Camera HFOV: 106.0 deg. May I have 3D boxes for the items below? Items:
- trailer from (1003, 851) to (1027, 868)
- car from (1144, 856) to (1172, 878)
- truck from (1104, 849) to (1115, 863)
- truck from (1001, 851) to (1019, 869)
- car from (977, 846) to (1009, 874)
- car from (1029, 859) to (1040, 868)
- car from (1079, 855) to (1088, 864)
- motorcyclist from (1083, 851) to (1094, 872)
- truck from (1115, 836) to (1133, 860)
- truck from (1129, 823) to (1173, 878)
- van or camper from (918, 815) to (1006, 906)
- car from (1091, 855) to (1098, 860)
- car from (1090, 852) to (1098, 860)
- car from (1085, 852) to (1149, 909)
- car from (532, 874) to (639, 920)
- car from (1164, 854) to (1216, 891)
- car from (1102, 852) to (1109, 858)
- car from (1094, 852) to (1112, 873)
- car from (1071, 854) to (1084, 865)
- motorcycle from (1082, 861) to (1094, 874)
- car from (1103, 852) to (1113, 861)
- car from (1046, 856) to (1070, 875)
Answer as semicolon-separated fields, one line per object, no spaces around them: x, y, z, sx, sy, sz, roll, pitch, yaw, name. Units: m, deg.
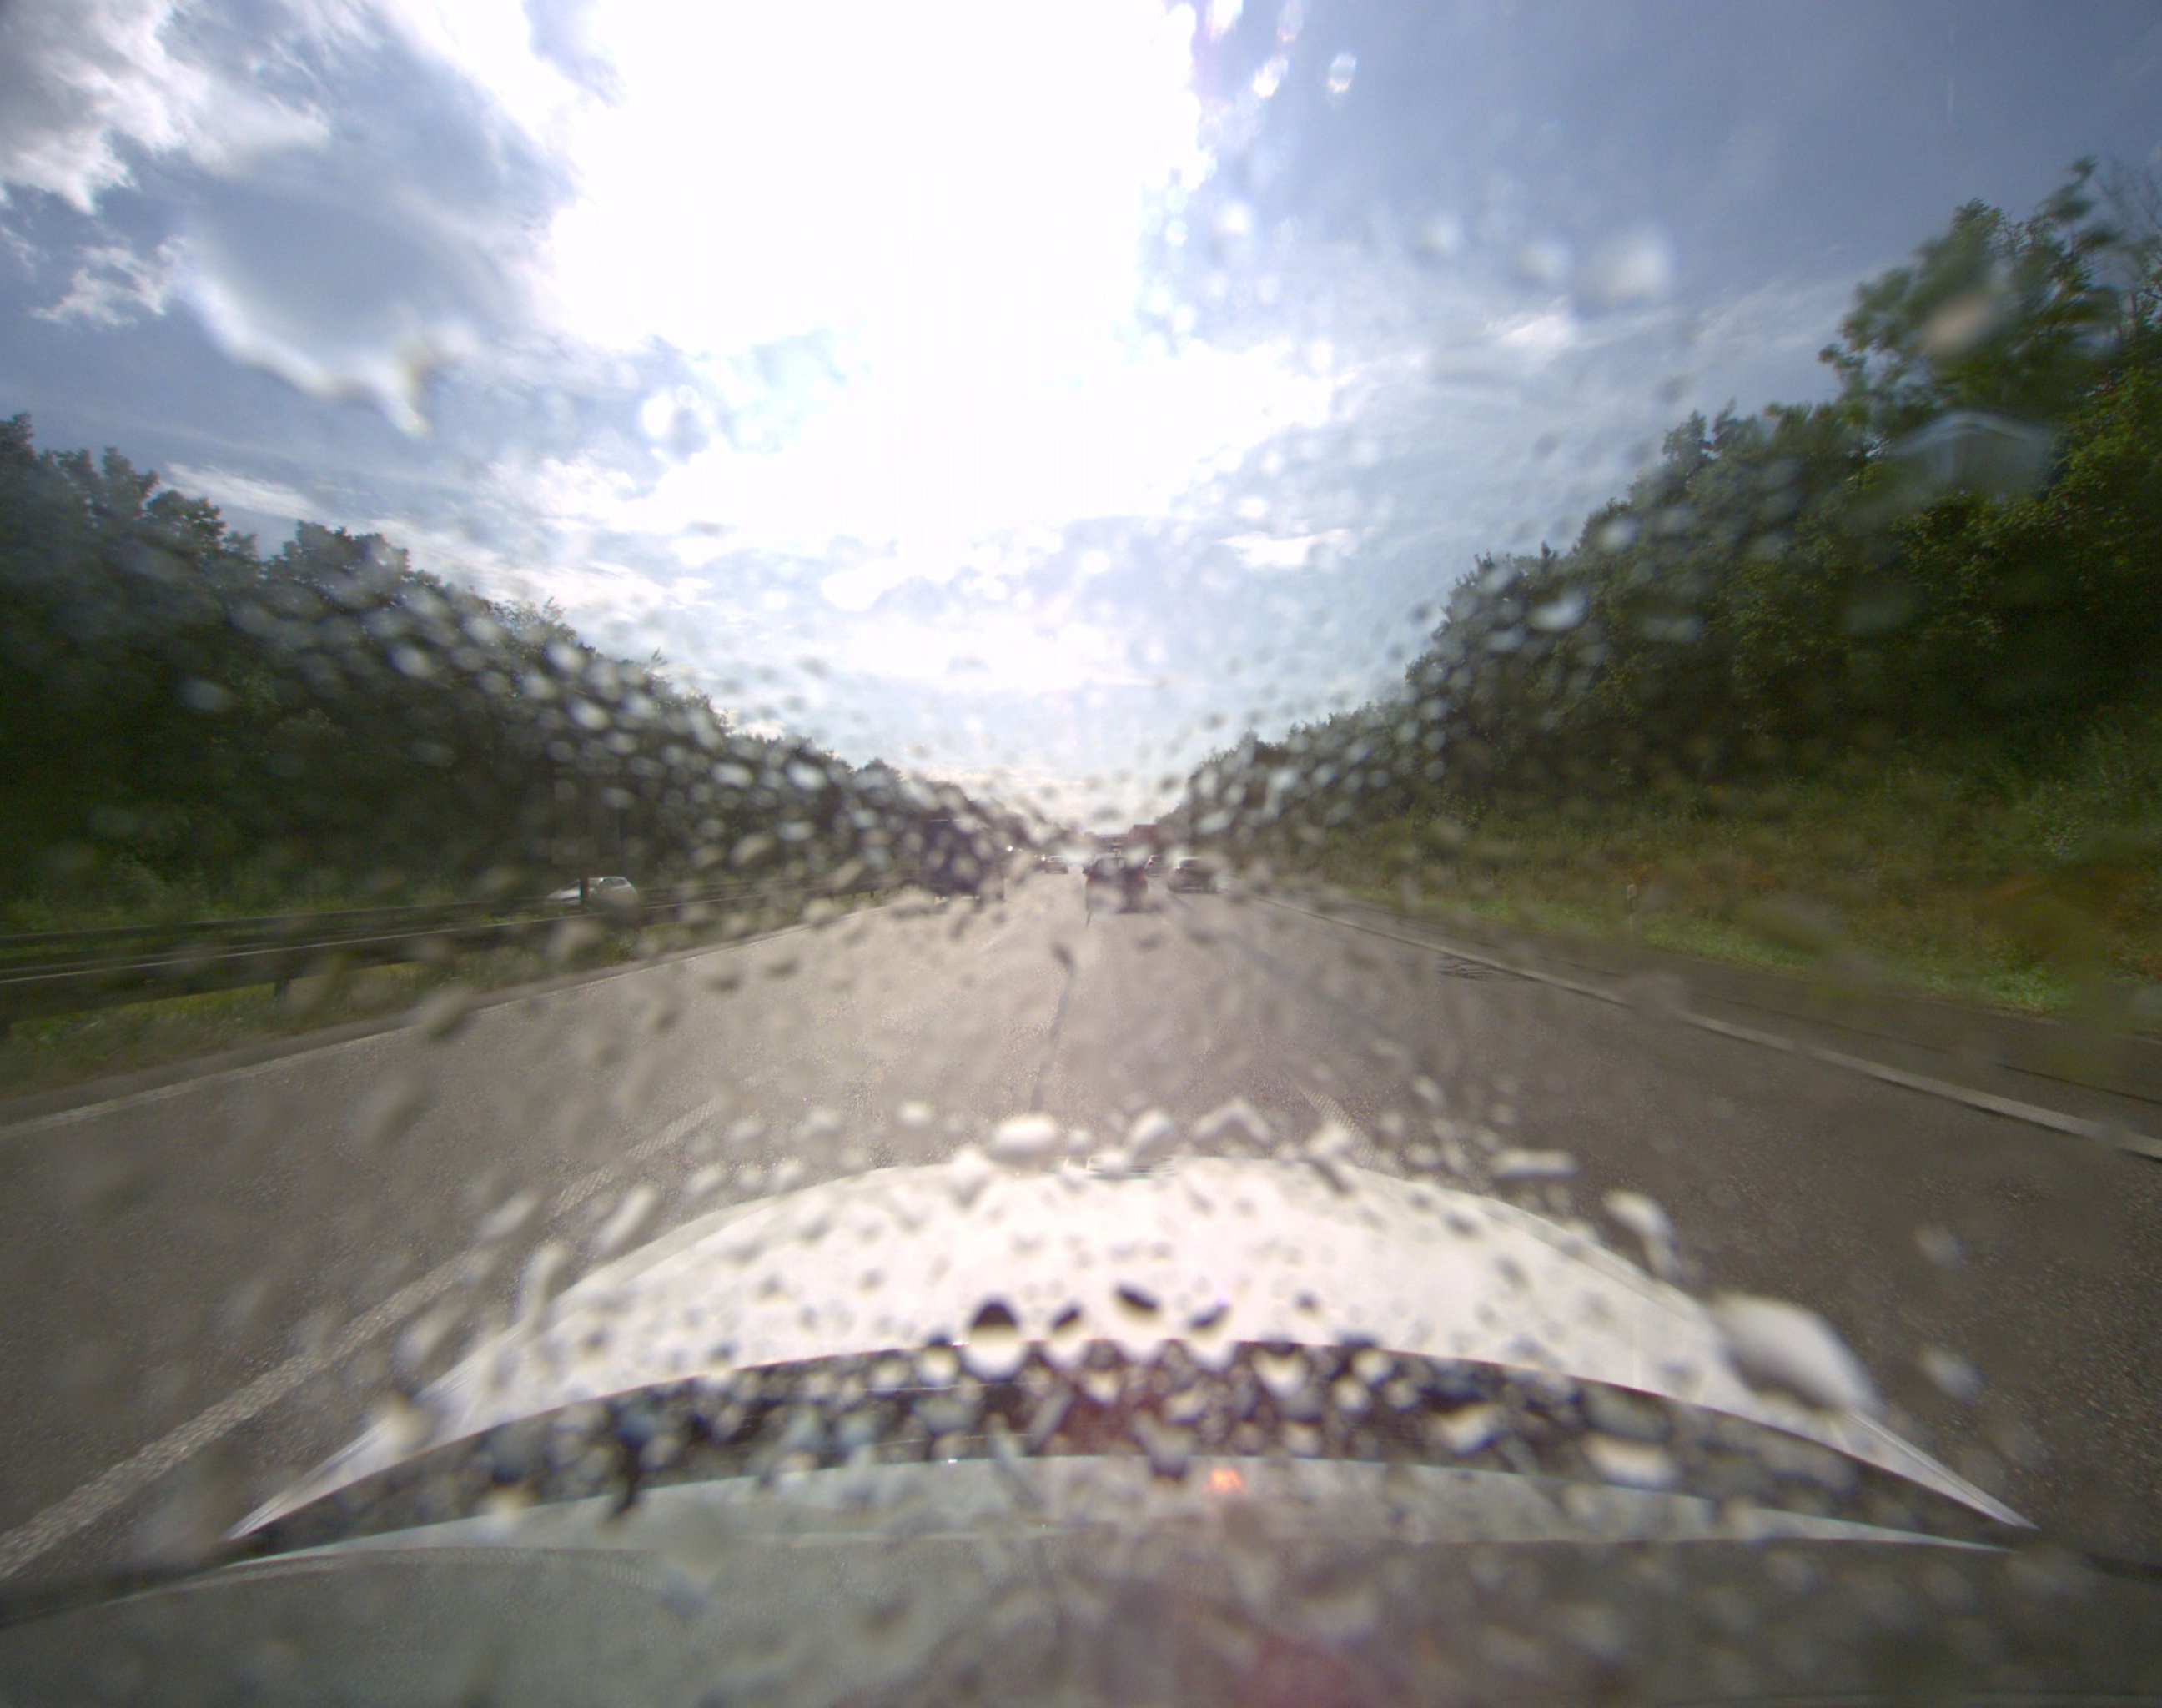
-15.075;1.261;186.995;2.978;3.831;17.966;0;0;3;trailer
5.322;0.885;56.848;1.674;1.442;3.905;0;0;1;car
5.984;0.490;173.332;2.184;2.875;4.850;0;0;1;truck
-15.577;1.216;178.179;2.978;3.831;6.869;0;0;3;truck
-7.999;0.508;74.257;2.175;2.452;5.749;0;0;1;car
-10.851;2.219;190.360;1.860;1.946;5.046;0;0;3;car
0.493;0.918;138.823;1.455;1.393;3.312;0;0;1;car
0.594;0.564;62.945;0.799;1.633;1.013;0;-1;1;motorcyclist
8.216;-1.073;155.479;3.243;4.479;12.430;0;0;3;truck
6.596;-0.277;79.122;3.635;4.720;16.790;0;0;3;truck
-3.773;0.212;26.746;1.986;2.669;5.385;0;0;1;van or camper
3.149;0.775;191.624;1.544;1.267;3.485;0;0;1;car
3.337;0.557;212.968;1.986;2.013;4.001;-2;0;1;car
1.020;0.731;23.944;1.711;1.568;3.485;0;0;1;car
-20.243;1.712;33.510;1.725;1.663;4.237;0;0;1;car
4.466;0.718;33.837;1.686;1.425;4.221;0;0;1;car
7.755;0.291;257.556;1.986;1.728;4.002;-1;0;2;car
1.888;0.727;71.478;1.526;1.746;3.485;0;0;1;car
-0.450;0.775;112.581;1.745;1.457;3.390;0;0;1;car
0.583;1.012;62.986;0.887;1.000;2.897;0;0;1;motorcycle
3.994;0.393;120.388;1.547;1.383;3.210;0;0;1;car
-1.940;0.959;70.281;1.848;1.551;3.485;0;0;1;car
